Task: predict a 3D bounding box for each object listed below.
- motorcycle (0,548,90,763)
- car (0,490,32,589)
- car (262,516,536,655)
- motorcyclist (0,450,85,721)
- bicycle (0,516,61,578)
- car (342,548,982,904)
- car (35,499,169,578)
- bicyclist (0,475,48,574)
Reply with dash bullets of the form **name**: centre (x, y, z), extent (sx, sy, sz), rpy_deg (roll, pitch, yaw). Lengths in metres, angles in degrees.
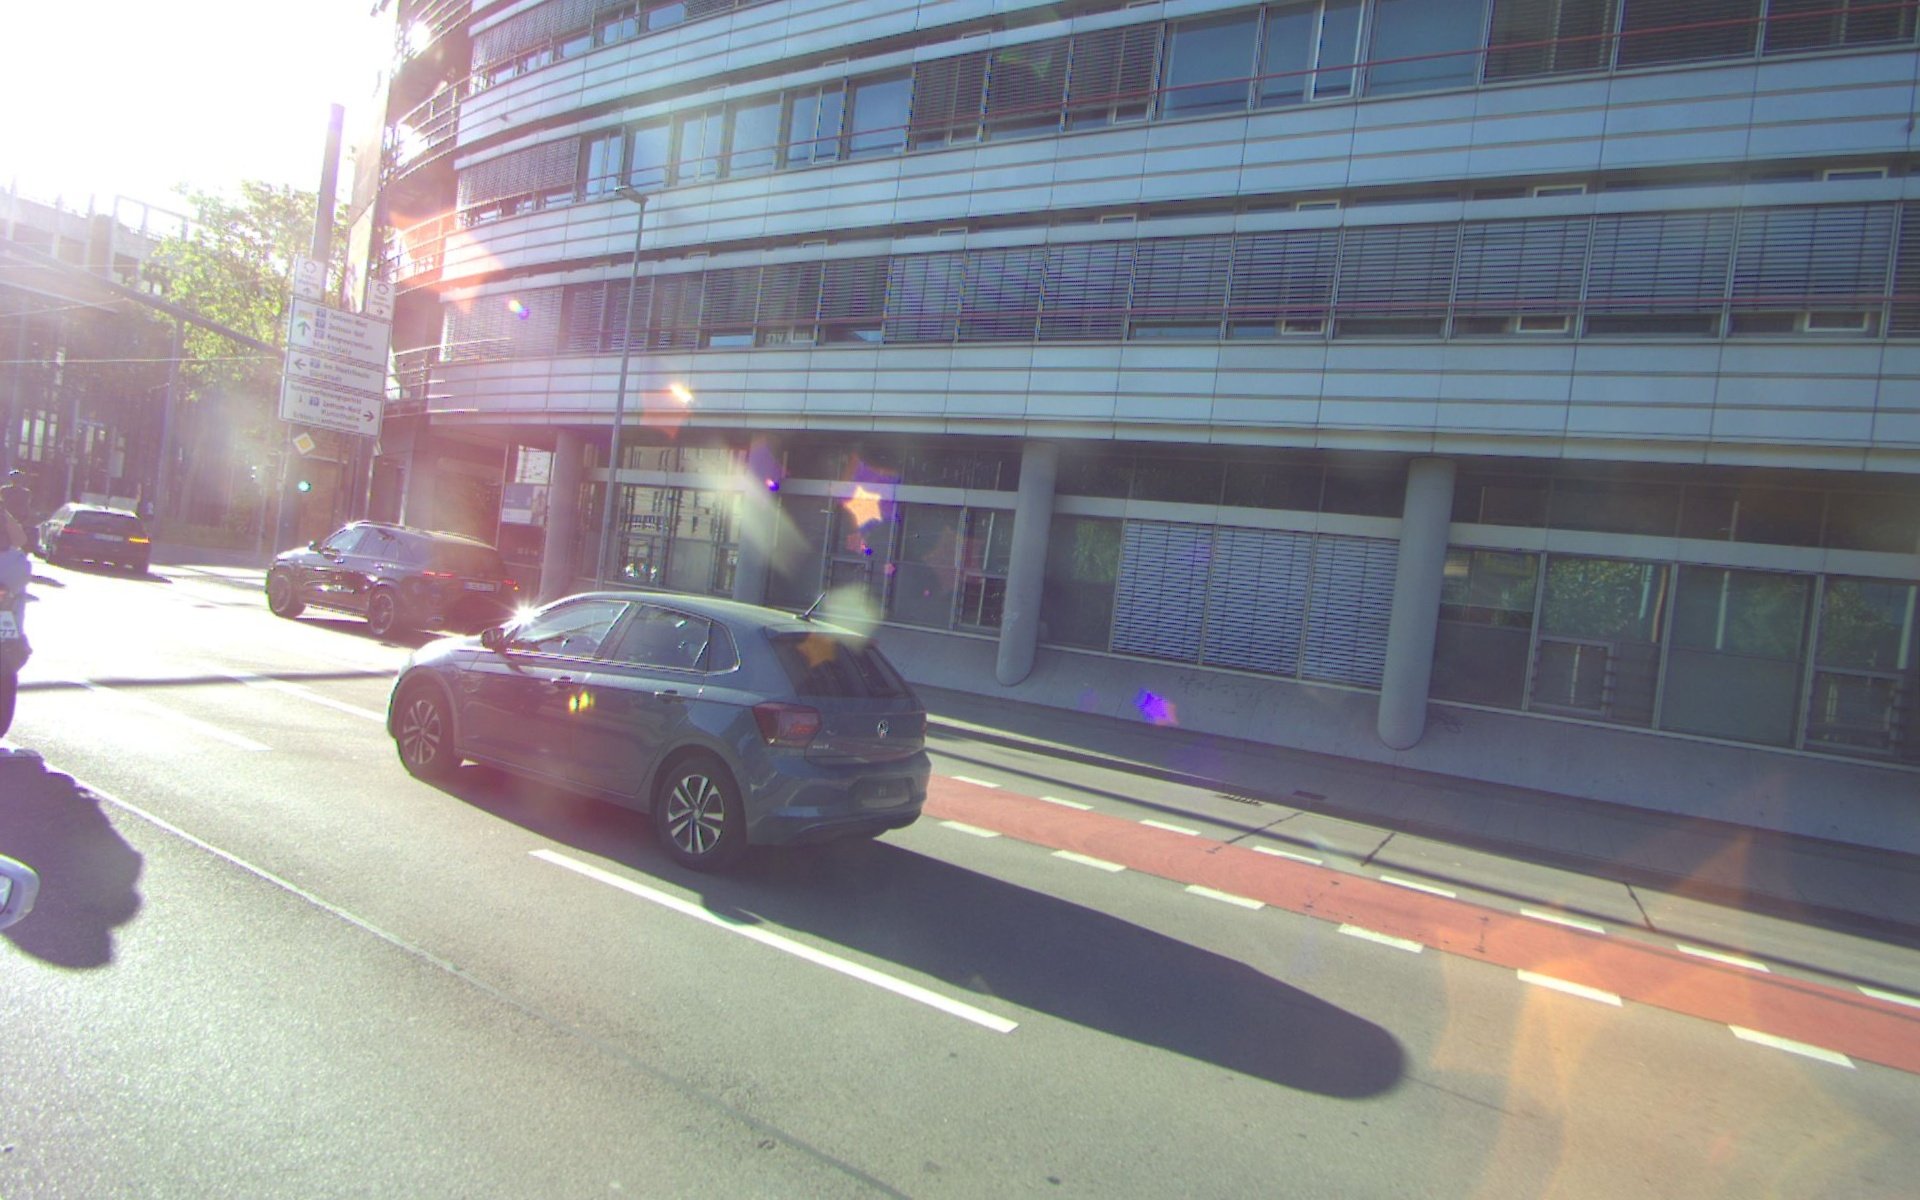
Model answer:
- **motorcycle**: centre (-6.189, 0.255, 6.137), extent (1.937, 1.129, 0.776), rpy_deg (7, 0, 34)
- **car**: centre (-16.615, -1.202, 15.726), extent (3.931, 1.474, 1.812), rpy_deg (7, -1, 28)
- **car**: centre (-9.491, -0.256, 16.966), extent (4.255, 1.771, 1.997), rpy_deg (7, 0, 30)
- **motorcyclist**: centre (-5.925, -0.131, 5.981), extent (1.004, 1.549, 0.745), rpy_deg (7, 1, 34)
- **bicycle**: centre (-18.311, -1.063, 19.427), extent (2.286, 1.010, 0.493), rpy_deg (7, 1, 25)
- **car**: centre (-2.077, 0.663, 6.809), extent (3.932, 1.474, 1.811), rpy_deg (7, -1, 30)
- **car**: centre (-20.658, -1.498, 24.393), extent (1.984, 1.436, 3.961), rpy_deg (10, -2, -36)
- **bicyclist**: centre (-18.264, -1.466, 19.419), extent (0.848, 1.813, 0.578), rpy_deg (7, 1, 26)
